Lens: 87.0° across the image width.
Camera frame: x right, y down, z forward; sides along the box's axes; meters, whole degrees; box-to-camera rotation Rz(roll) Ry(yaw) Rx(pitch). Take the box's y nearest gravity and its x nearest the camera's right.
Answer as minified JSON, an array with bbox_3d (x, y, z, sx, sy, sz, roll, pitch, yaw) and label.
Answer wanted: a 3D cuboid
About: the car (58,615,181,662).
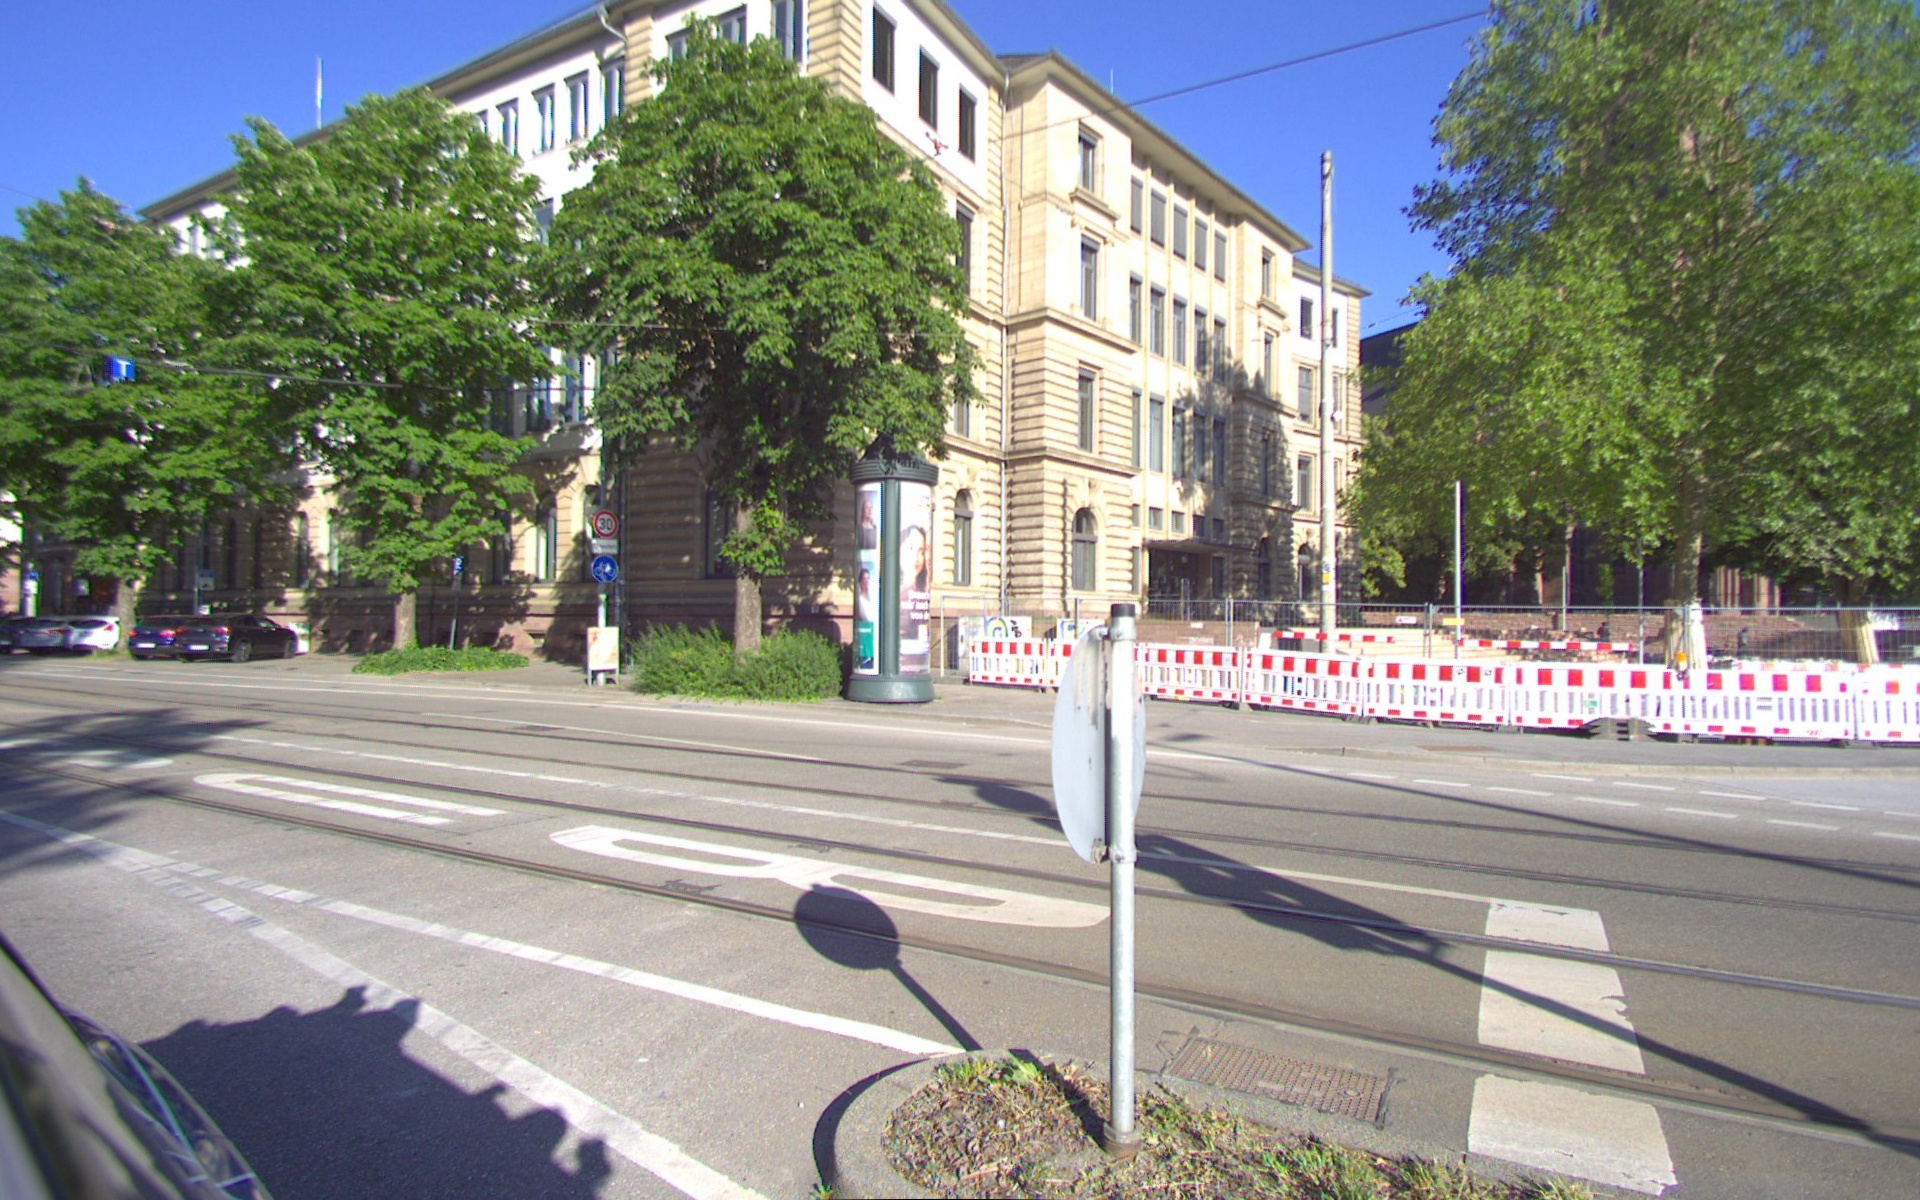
[{"bbox_3d":[-30.916,1.375,37.355,1.626,1.572,3.652,-1,0,-3],"label":"car"}]

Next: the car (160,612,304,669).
[{"bbox_3d":[-23.616,1.262,33.036,1.819,1.643,4.184,-1,0,-3],"label":"car"}]

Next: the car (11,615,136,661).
[{"bbox_3d":[-33.229,1.393,38.066,1.626,1.572,3.652,-1,0,-3],"label":"car"}]

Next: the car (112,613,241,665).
[{"bbox_3d":[-26.245,1.272,34.038,1.626,1.572,3.652,-1,0,-3],"label":"car"}]

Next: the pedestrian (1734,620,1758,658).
[{"bbox_3d":[35.383,1.747,45.556,0.666,1.660,0.762,1,-2,-45],"label":"pedestrian"}]

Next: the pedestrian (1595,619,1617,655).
[{"bbox_3d":[30.513,1.730,47.771,0.627,1.660,0.677,1,-2,-37],"label":"pedestrian"}]

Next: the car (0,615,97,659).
[{"bbox_3d":[-36.245,1.415,39.774,1.626,1.572,3.652,-1,0,-3],"label":"car"}]
